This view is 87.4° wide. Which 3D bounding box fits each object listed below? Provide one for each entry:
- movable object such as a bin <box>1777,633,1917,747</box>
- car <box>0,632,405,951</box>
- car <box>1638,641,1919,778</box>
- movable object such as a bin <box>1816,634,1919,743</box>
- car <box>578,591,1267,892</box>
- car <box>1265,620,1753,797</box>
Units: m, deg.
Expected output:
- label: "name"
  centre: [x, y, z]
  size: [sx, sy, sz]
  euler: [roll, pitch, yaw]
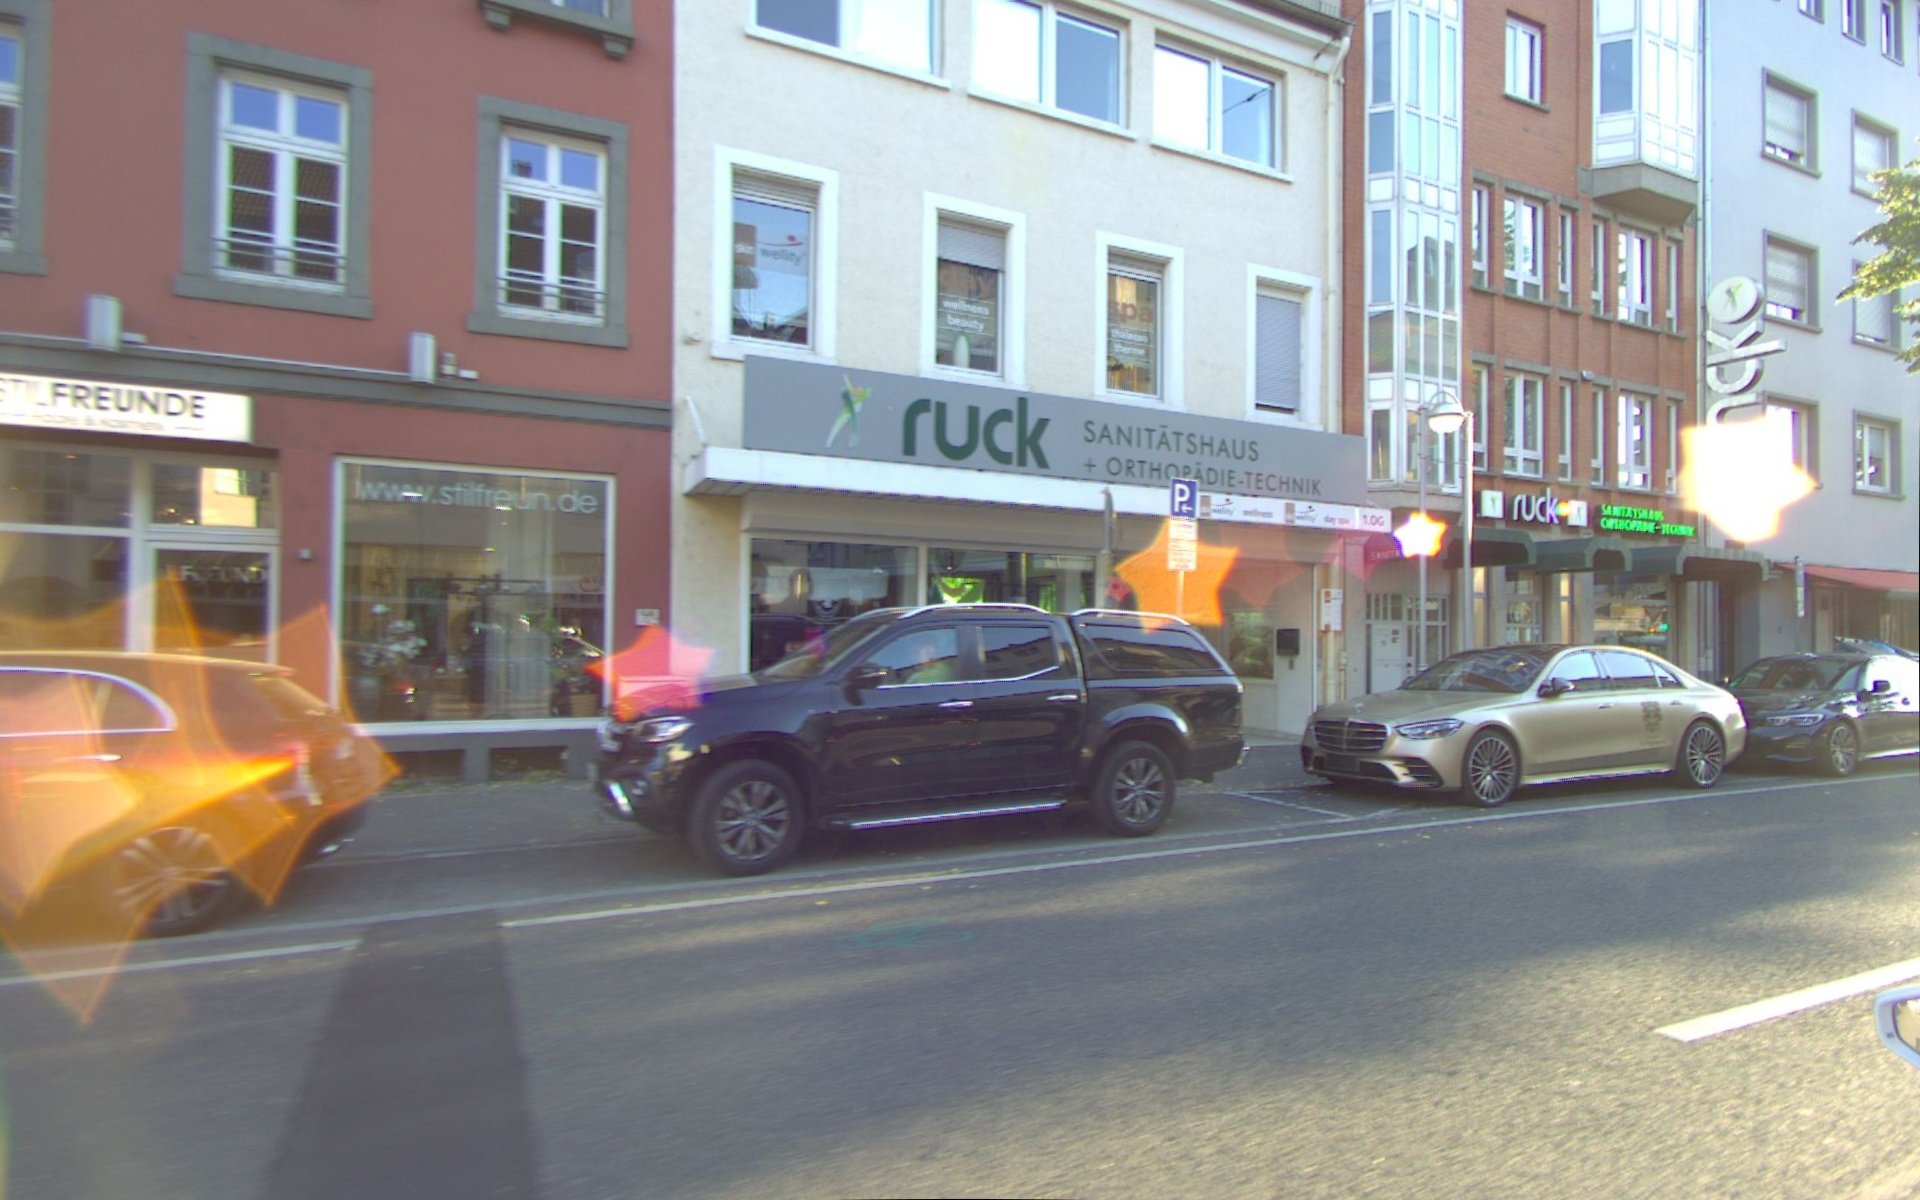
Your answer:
- label: "movable object such as a bin"
  centre: [14.564, 1.435, 16.514]
  size: [1.352, 1.695, 1.275]
  euler: [2, 1, -28]
- label: "car"
  centre: [-5.464, 0.946, 5.418]
  size: [4.160, 1.530, 1.761]
  euler: [1, -3, -25]
- label: "car"
  centre: [11.262, 1.325, 13.178]
  size: [4.578, 1.530, 1.909]
  euler: [1, -3, -26]
- label: "movable object such as a bin"
  centre: [15.811, 1.475, 17.181]
  size: [1.422, 1.695, 1.276]
  euler: [2, 1, -28]
- label: "car"
  centre: [-0.187, 0.947, 8.112]
  size: [5.232, 1.792, 1.986]
  euler: [2, -3, -28]
- label: "car"
  centre: [5.899, 1.039, 10.725]
  size: [5.044, 1.530, 1.988]
  euler: [1, -3, -25]
